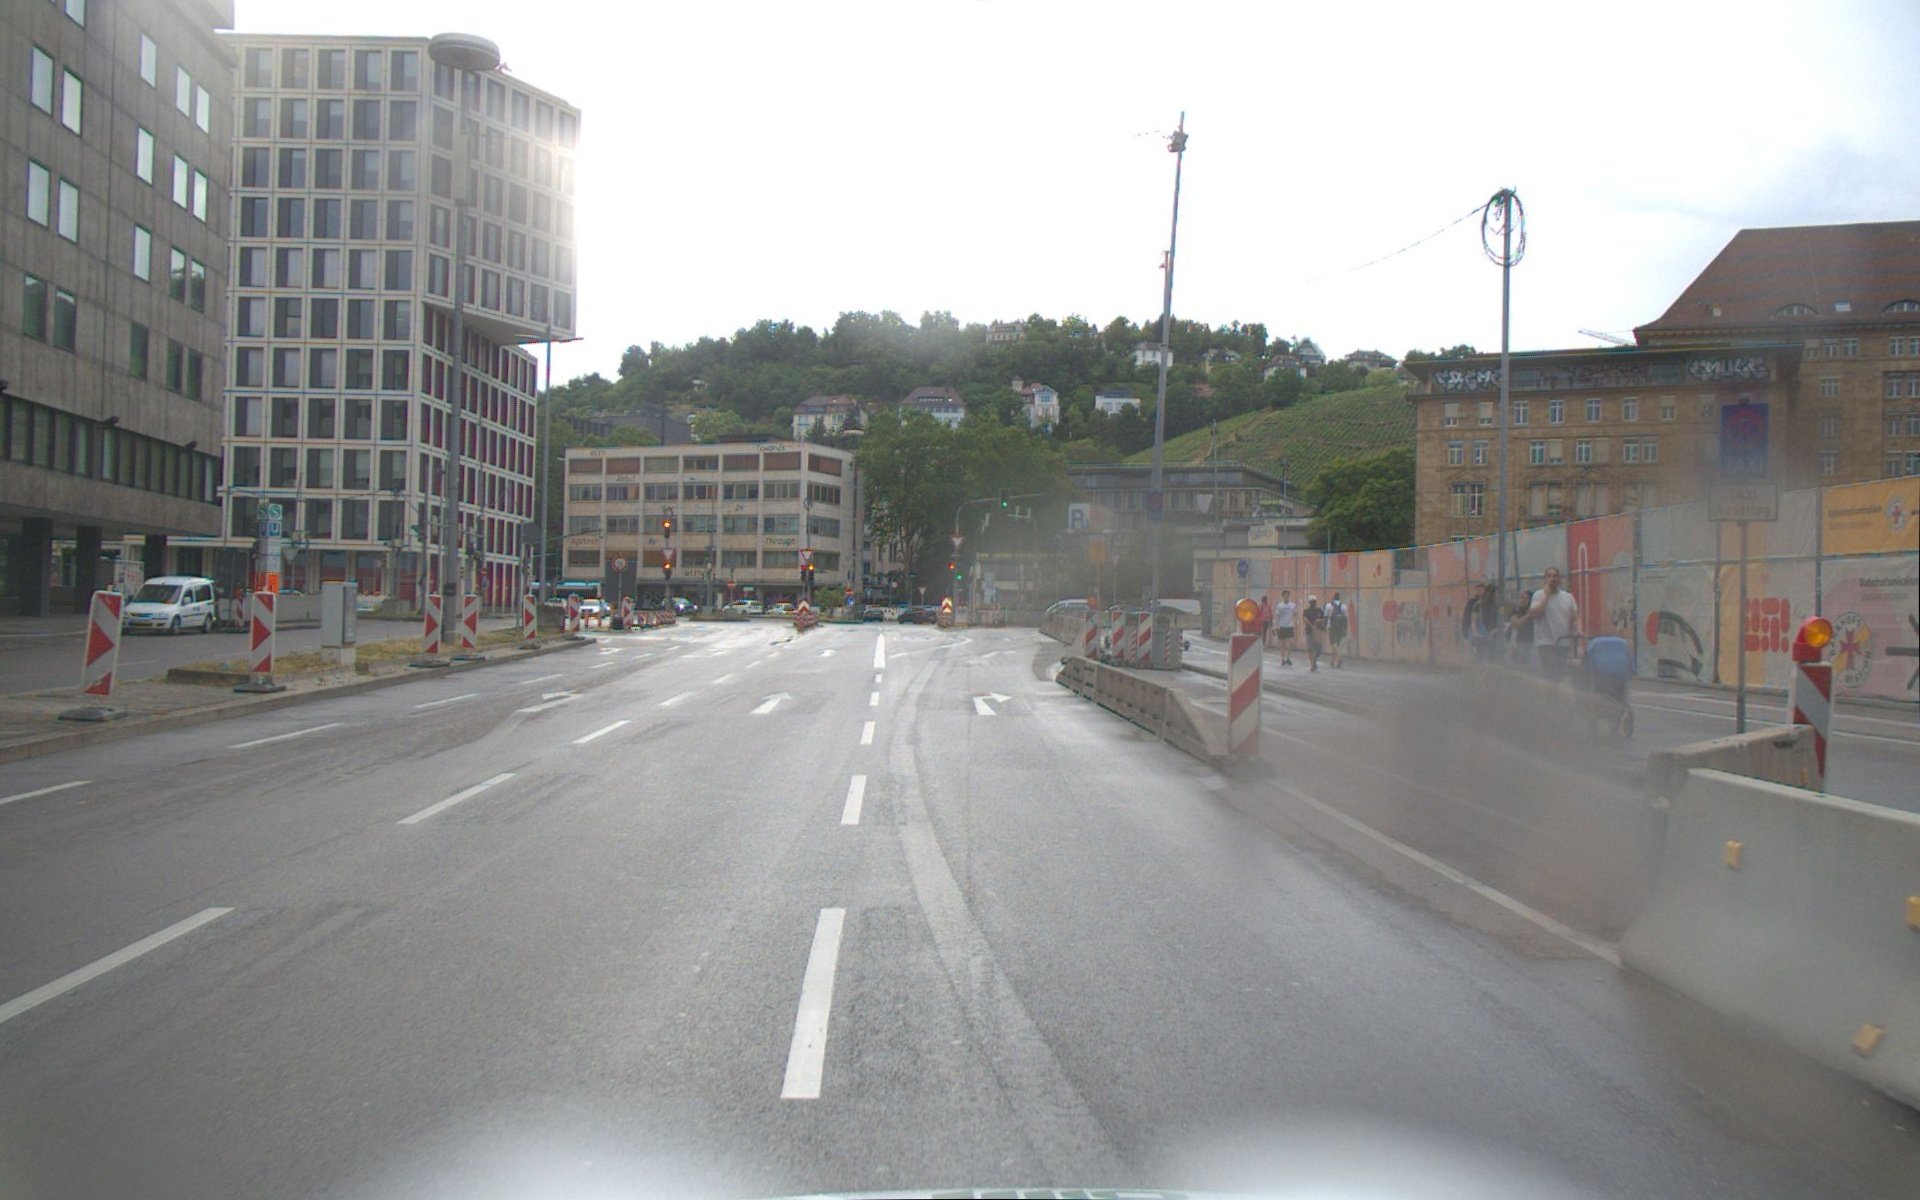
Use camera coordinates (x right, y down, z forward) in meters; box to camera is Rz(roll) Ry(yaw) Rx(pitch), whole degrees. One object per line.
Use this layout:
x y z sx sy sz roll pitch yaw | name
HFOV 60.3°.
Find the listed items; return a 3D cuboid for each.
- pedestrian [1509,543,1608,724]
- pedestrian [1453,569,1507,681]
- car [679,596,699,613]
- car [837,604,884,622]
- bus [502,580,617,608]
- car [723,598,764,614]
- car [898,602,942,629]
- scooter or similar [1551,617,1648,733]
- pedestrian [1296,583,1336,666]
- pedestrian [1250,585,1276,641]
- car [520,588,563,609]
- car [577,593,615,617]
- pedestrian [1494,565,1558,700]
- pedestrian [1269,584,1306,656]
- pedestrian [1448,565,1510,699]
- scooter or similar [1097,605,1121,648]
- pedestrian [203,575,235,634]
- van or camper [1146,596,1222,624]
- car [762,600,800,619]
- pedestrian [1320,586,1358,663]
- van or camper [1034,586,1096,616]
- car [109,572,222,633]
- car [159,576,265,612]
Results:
6.996 0.376 19.365 0.786 2.052 0.972 1 0 0 | pedestrian
9.056 0.436 28.819 0.670 1.922 0.693 1 0 -4 | pedestrian
-25.291 0.411 154.347 1.797 1.512 3.990 1 0 -10 | car
-8.860 1.121 146.908 3.998 1.518 1.728 1 0 38 | car
-43.464 -0.645 179.227 13.668 2.799 3.206 1 0 29 | bus
-21.817 0.618 166.520 3.995 1.518 1.730 1 0 35 | car
-3.309 1.265 135.686 1.972 2.049 3.961 1 0 -29 | car
7.079 0.815 18.338 0.651 1.219 1.044 1 0 0 | scooter or similar
7.750 0.532 36.064 0.629 1.771 0.837 1 0 -3 | pedestrian
10.287 0.442 56.142 0.705 1.899 0.709 1 0 -3 | pedestrian
-38.527 -0.137 152.158 3.923 1.847 1.797 1 0 38 | car
-28.640 0.399 130.252 2.178 1.784 4.810 0 -1 -3 | car
8.242 0.466 24.106 0.669 1.922 0.693 1 0 0 | pedestrian
8.108 0.491 40.996 0.670 1.771 0.907 1 0 -3 | pedestrian
7.551 0.456 24.083 0.669 1.922 0.693 1 0 0 | pedestrian
4.412 0.769 49.093 0.660 1.236 1.572 1 0 3 | scooter or similar
-24.442 0.142 54.561 0.677 1.919 0.795 1 0 -3 | pedestrian
15.920 0.710 117.816 5.092 1.927 1.886 1 0 -4 | van or camper
-17.012 0.886 157.072 1.781 1.720 3.947 1 0 -38 | car
9.540 0.609 41.694 0.689 1.899 0.990 1 0 -1 | pedestrian
7.456 0.063 117.588 4.158 2.013 1.850 1 0 -4 | van or camper
-24.794 0.084 51.782 1.740 1.793 4.366 1 0 -5 | car
-41.857 -0.329 92.606 4.961 1.938 2.089 1 0 5 | car
